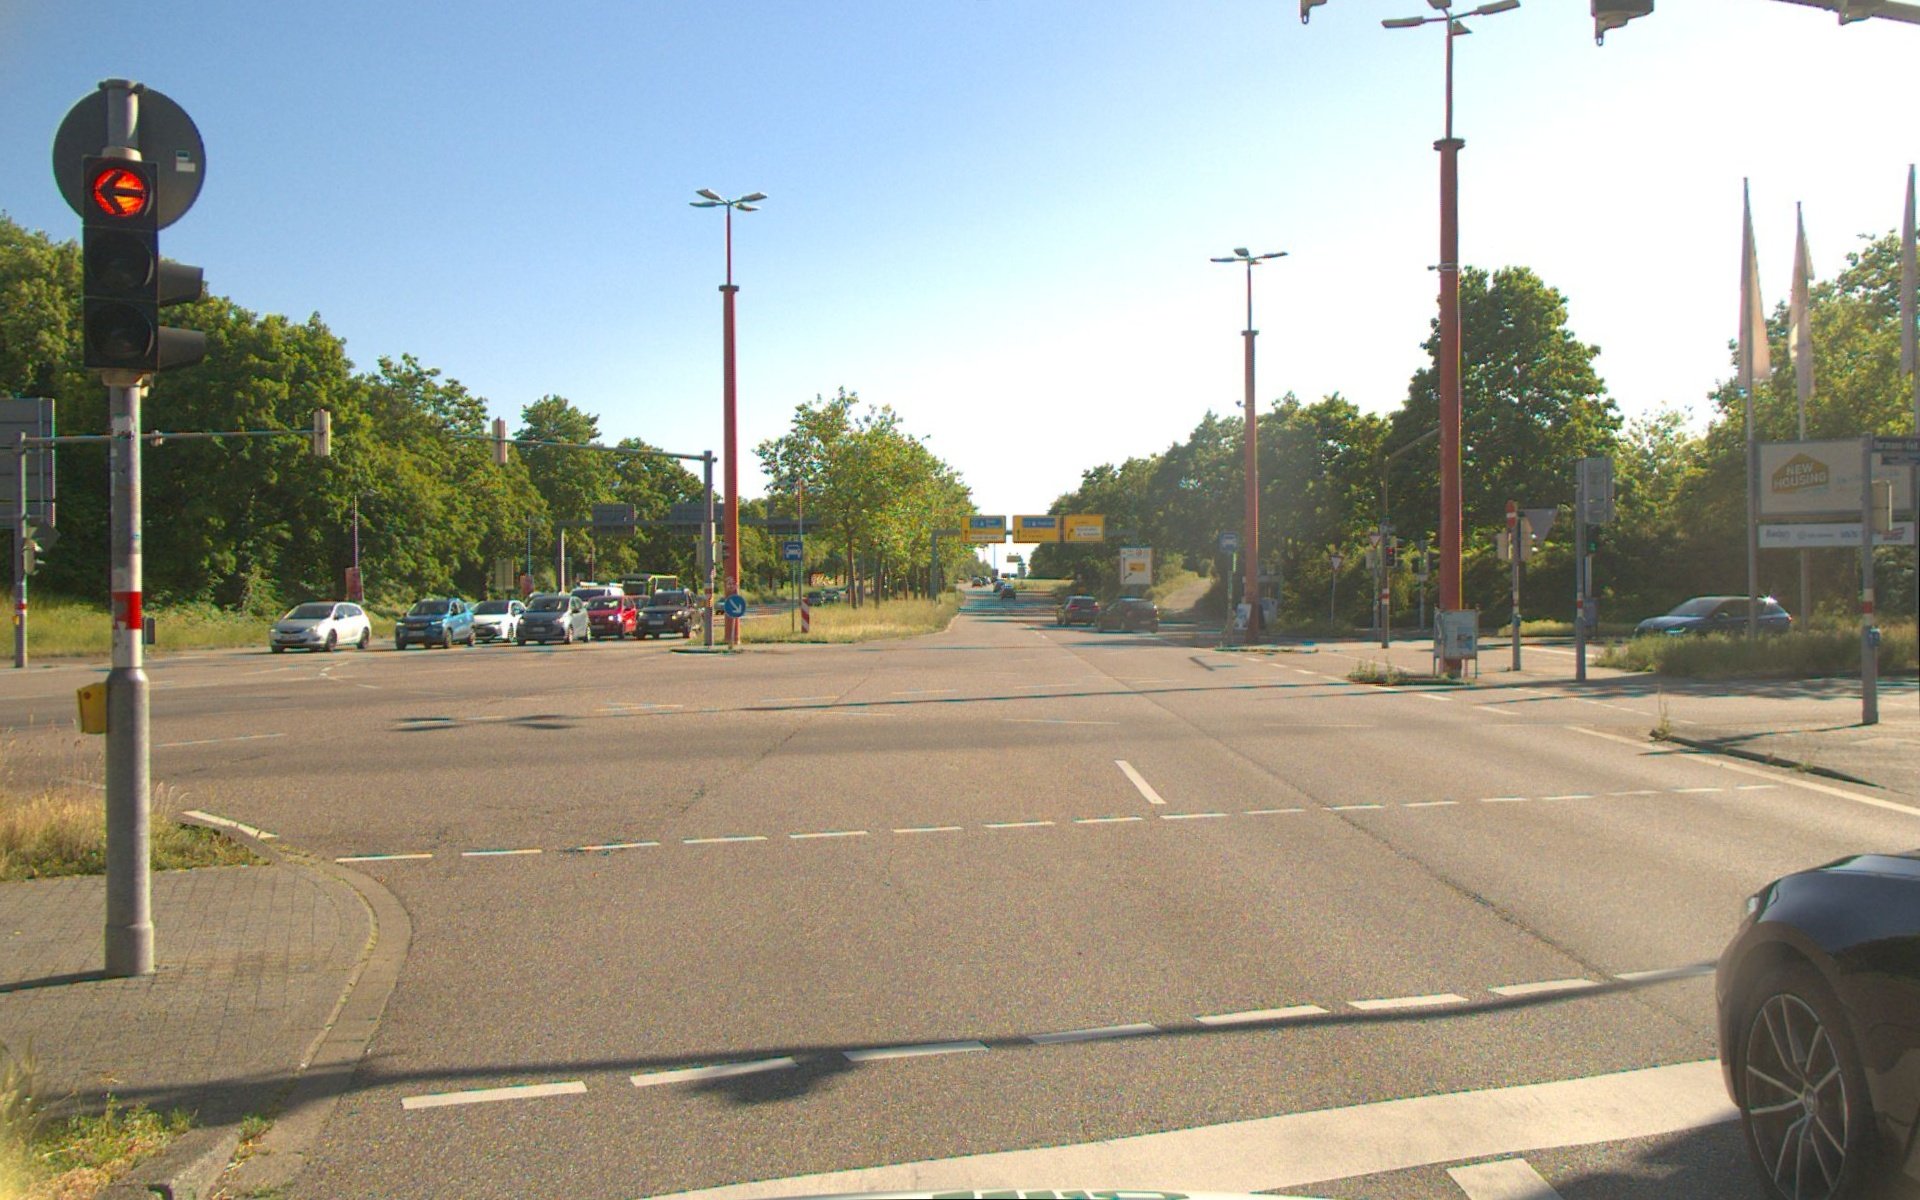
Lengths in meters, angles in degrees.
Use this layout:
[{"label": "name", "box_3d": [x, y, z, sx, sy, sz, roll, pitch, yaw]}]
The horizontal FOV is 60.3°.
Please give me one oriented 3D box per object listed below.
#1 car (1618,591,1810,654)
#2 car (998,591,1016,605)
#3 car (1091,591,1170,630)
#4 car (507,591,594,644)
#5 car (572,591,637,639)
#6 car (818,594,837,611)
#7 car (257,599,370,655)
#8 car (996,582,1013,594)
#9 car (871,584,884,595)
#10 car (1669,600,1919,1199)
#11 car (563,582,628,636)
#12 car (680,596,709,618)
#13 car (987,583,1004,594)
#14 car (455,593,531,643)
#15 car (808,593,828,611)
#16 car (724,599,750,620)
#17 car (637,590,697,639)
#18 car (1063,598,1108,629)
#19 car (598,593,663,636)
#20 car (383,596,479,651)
[{"label": "car", "box_3d": [18.617, 0.529, 40.847, 4.201, 1.453, 1.874, 0, 0, -19]}, {"label": "car", "box_3d": [5.703, -0.228, 201.906, 2.114, 1.601, 4.281, 0, 0, 1]}, {"label": "car", "box_3d": [7.300, 0.443, 71.334, 2.122, 1.601, 4.266, 0, 0, -13]}, {"label": "car", "box_3d": [-12.805, 0.521, 51.960, 1.954, 1.601, 4.118, 0, 0, -4]}, {"label": "car", "box_3d": [-12.479, 0.506, 58.267, 1.956, 1.601, 4.113, 0, 0, -8]}, {"label": "car", "box_3d": [-14.718, 0.294, 183.774, 1.860, 1.802, 3.847, 0, 0, -3]}, {"label": "car", "box_3d": [-19.587, 0.785, 50.293, 1.954, 1.601, 4.118, 0, 0, -3]}, {"label": "car", "box_3d": [6.124, -1.602, 226.619, 2.115, 1.601, 4.279, 0, 0, -2]}, {"label": "car", "box_3d": [-12.805, -1.636, 255.893, 1.840, 1.601, 4.116, 0, 0, -5]}, {"label": "car", "box_3d": [2.973, 0.713, 2.356, 1.953, 1.419, 4.476, 0, 0, -1]}, {"label": "car", "box_3d": [-15.672, 0.386, 71.260, 2.021, 2.231, 4.376, 0, 0, -3]}, {"label": "car", "box_3d": [-19.987, 0.526, 124.732, 1.840, 1.601, 4.116, 0, 0, -5]}, {"label": "car", "box_3d": [5.325, -1.692, 247.093, 2.116, 1.601, 4.277, 0, 0, -4]}, {"label": "car", "box_3d": [-15.991, 0.596, 56.779, 1.956, 1.601, 4.113, -1, 0, -8]}, {"label": "car", "box_3d": [-13.485, 0.195, 156.968, 1.840, 1.601, 4.116, 0, 0, -5]}, {"label": "car", "box_3d": [-17.572, 0.769, 130.499, 1.840, 1.601, 3.943, 0, 0, -5]}, {"label": "car", "box_3d": [-9.874, 0.471, 55.986, 1.841, 1.601, 4.113, 0, 0, -8]}, {"label": "car", "box_3d": [6.582, 0.682, 87.158, 2.114, 1.601, 4.583, 0, 0, 1]}, {"label": "car", "box_3d": [-12.711, 0.527, 64.042, 1.954, 1.601, 4.117, 0, 0, -4]}, {"label": "car", "box_3d": [-16.208, 0.681, 50.886, 1.955, 1.601, 4.116, 0, 0, -5]}]
